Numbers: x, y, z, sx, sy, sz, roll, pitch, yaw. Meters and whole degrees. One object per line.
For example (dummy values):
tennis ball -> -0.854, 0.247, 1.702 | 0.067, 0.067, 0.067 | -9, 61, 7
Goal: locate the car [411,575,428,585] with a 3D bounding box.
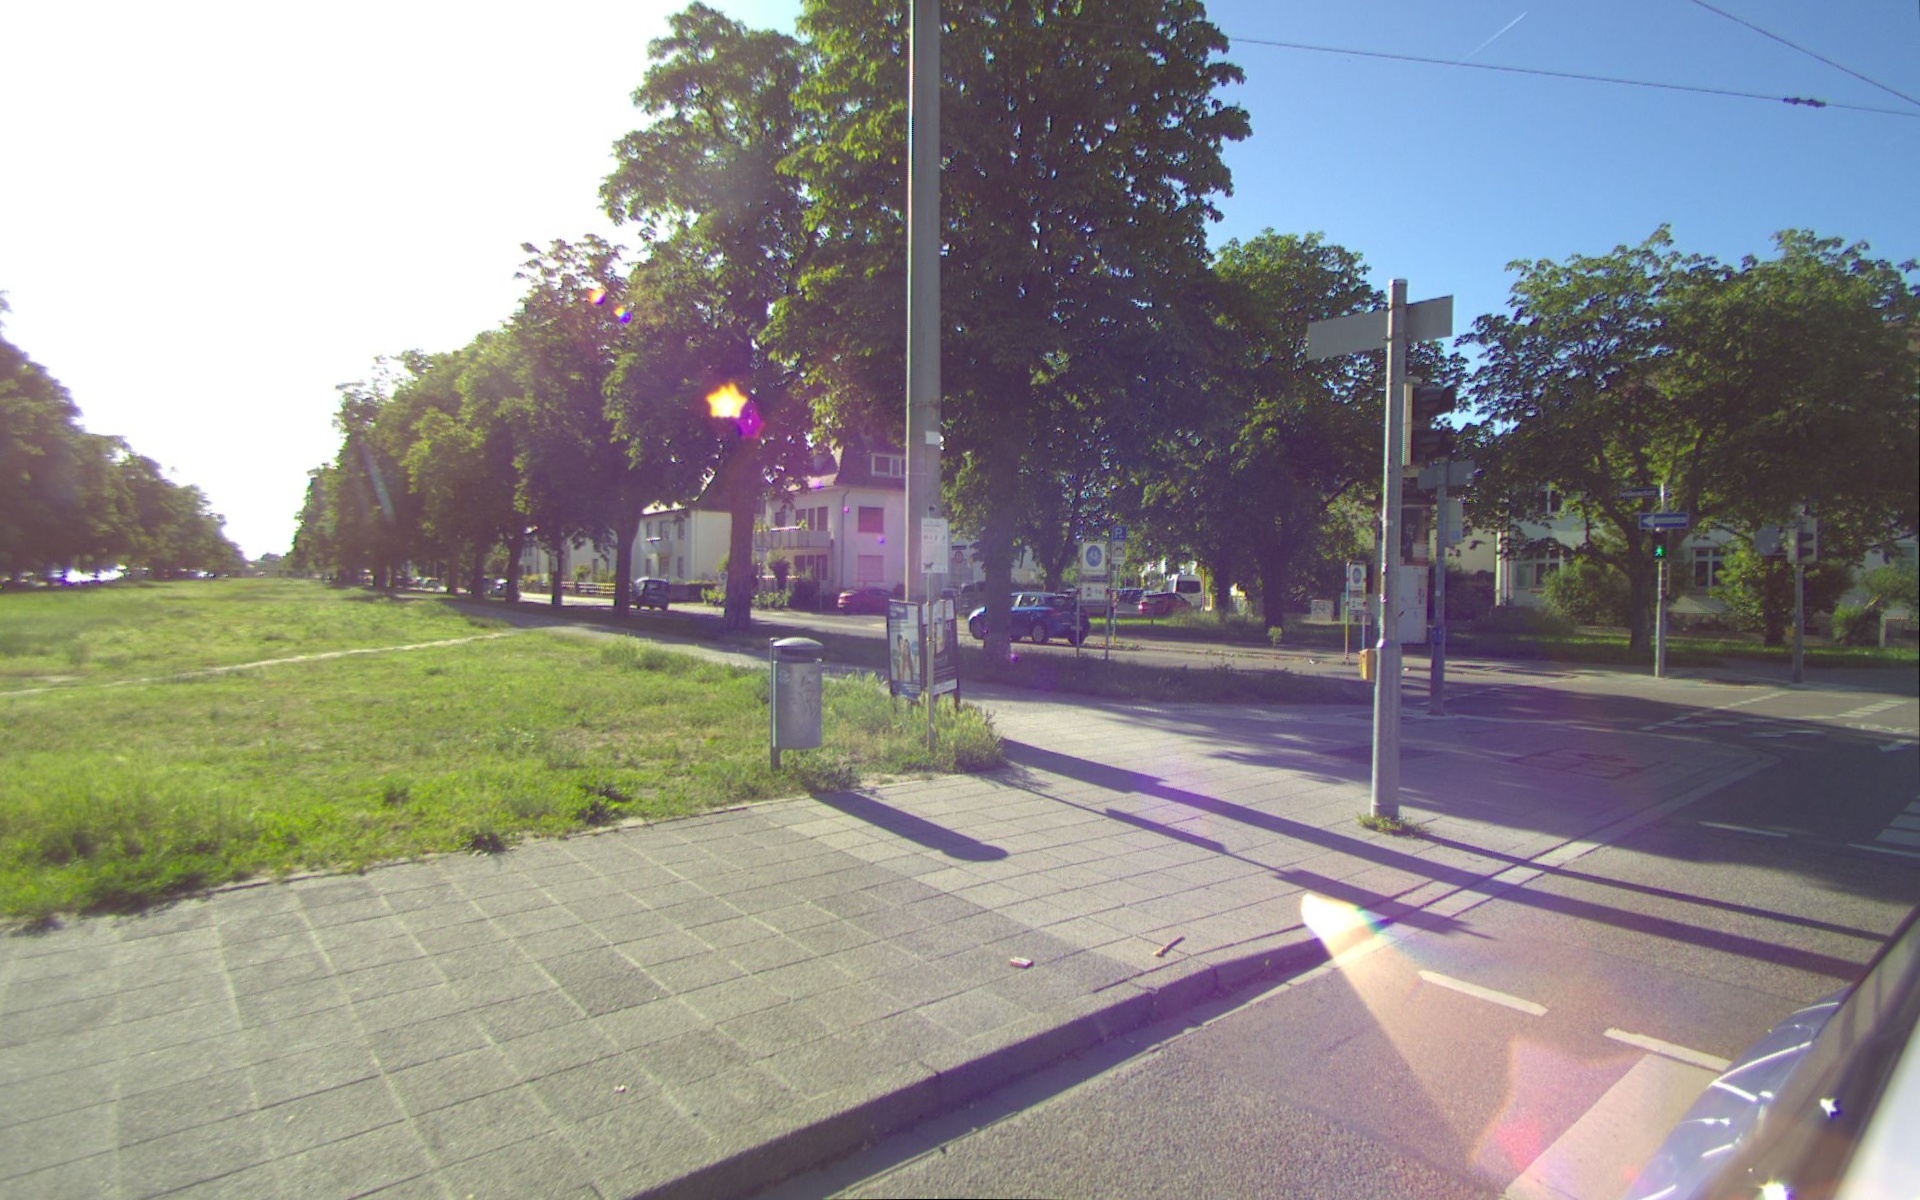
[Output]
car -> -78.782, -2.929, 147.469 | 1.791, 1.451, 4.001 | 0, 1, -35

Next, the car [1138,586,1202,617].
car -> 11.618, 0.108, 55.838 | 1.600, 1.554, 4.218 | 2, 0, 41

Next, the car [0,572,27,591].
car -> -83.662, -1.607, 89.245 | 1.619, 1.538, 3.403 | 1, -1, -35

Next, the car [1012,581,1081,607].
car -> 5.126, -0.352, 59.934 | 3.823, 1.489, 1.759 | 1, 1, -36

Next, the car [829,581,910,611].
car -> -4.646, -0.182, 52.281 | 3.823, 1.489, 1.759 | 1, 1, -36

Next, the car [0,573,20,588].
car -> -106.628, -2.188, 113.104 | 1.701, 1.624, 3.705 | 1, -1, -34

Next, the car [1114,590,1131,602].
car -> 21.064, -0.582, 131.165 | 1.727, 1.489, 3.895 | 1, 1, 2

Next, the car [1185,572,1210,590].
car -> 20.949, -1.678, 89.329 | 1.730, 1.489, 3.888 | 1, 1, 8

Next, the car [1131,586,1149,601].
car -> 19.234, -0.686, 108.350 | 1.730, 1.489, 3.887 | 1, 1, 8

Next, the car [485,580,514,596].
car -> -43.531, -1.168, 95.678 | 1.791, 1.451, 4.001 | 0, 1, -35

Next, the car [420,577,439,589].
car -> -72.148, -2.322, 137.551 | 1.791, 1.451, 4.001 | 0, 1, -35

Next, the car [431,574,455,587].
car -> -56.500, -2.127, 110.554 | 1.791, 1.451, 4.001 | 0, 1, -35

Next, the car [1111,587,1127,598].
car -> 23.243, -1.091, 148.020 | 1.727, 1.489, 3.895 | 1, 1, 2

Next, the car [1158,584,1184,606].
car -> 15.164, -0.361, 72.772 | 1.732, 1.489, 3.883 | 1, 1, 12

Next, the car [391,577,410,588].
car -> -76.864, -2.386, 139.019 | 1.791, 1.451, 4.001 | 0, 1, -35

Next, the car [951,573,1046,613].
car -> 1.892, -0.338, 48.960 | 4.257, 1.859, 1.924 | 1, 1, -34

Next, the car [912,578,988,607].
car -> -0.548, -0.400, 55.499 | 3.823, 1.489, 1.759 | 1, 1, -36

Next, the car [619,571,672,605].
car -> -18.251, -0.656, 58.704 | 1.782, 1.848, 3.999 | -2, 0, -35

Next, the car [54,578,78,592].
car -> -101.946, -1.680, 115.407 | 1.619, 1.538, 3.403 | 1, -1, -35

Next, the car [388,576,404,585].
car -> -88.517, -3.074, 158.798 | 1.791, 1.451, 4.001 | 0, 1, -35

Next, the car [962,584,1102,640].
car -> 2.011, 0.302, 29.192 | 1.784, 1.451, 3.996 | 1, 1, -39

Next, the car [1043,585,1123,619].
car -> 6.301, 0.093, 51.946 | 3.637, 1.668, 1.926 | 1, 1, -29

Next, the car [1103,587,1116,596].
car -> 24.296, -1.356, 164.640 | 1.727, 1.489, 3.893 | 1, 1, 4

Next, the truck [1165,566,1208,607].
truck -> 15.129, -0.933, 67.772 | 1.963, 2.608, 4.977 | 1, 1, 3

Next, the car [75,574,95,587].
car -> -111.665, -2.486, 129.172 | 1.619, 1.538, 3.403 | 1, -1, -35

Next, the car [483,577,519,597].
car -> -34.626, -0.963, 76.239 | 1.791, 1.451, 4.001 | 0, 1, -35

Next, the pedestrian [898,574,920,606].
pedestrian -> -2.946, -0.581, 57.854 | 0.882, 1.792, 1.026 | 1, -1, -31

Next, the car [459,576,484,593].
car -> -51.668, -1.640, 106.979 | 1.791, 1.624, 4.001 | 1, 1, -35

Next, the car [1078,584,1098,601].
car -> 11.808, -0.701, 93.175 | 1.730, 1.489, 3.888 | 1, 1, 8
